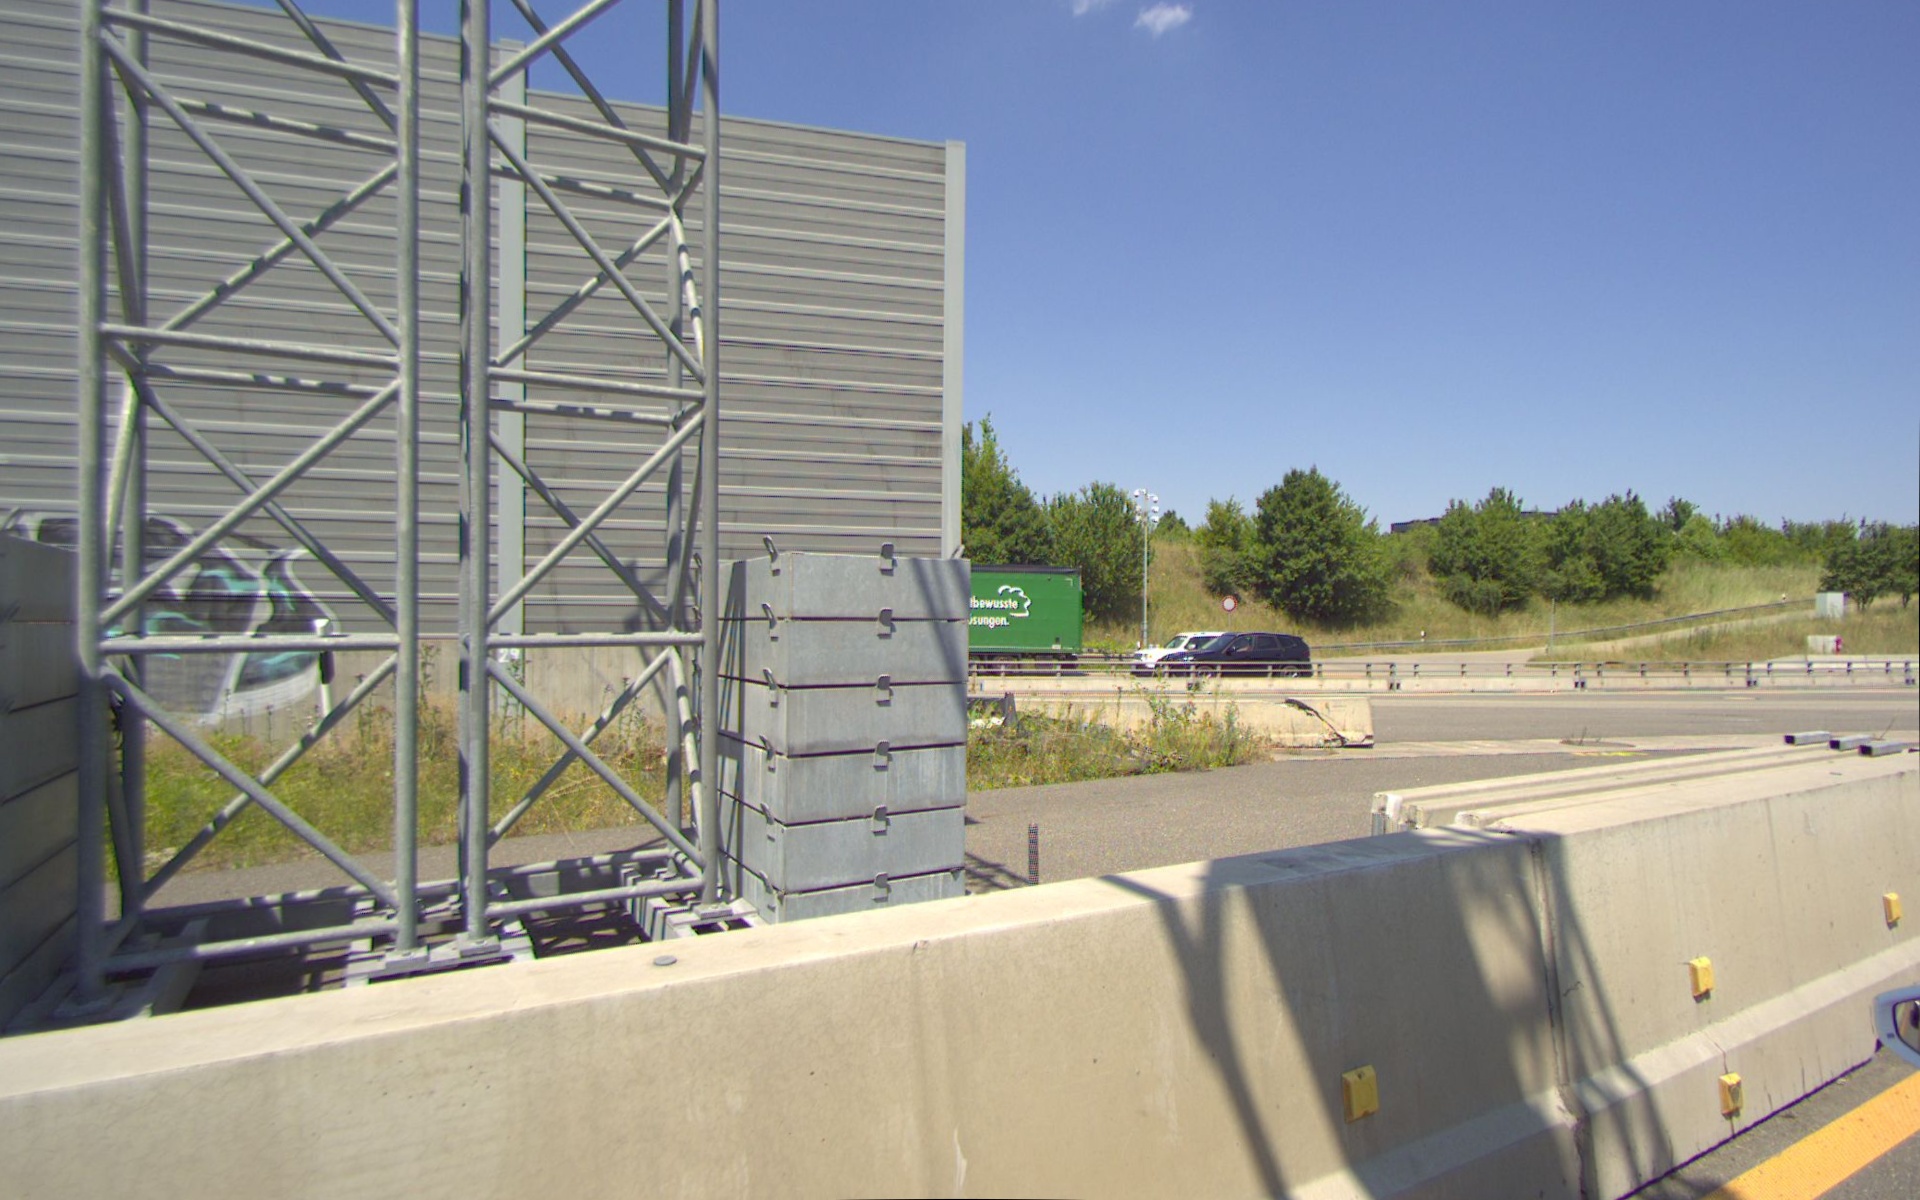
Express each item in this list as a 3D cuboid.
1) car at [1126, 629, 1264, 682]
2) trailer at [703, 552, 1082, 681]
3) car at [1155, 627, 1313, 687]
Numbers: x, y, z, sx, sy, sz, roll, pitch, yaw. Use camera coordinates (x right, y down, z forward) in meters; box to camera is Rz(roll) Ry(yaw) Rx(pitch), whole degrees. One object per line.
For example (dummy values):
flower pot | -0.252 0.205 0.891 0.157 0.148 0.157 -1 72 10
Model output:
car | 7.698 1.818 33.025 4.097 1.645 1.718 1 0 -12
trailer | -2.488 0.651 38.156 13.653 4.327 3.552 2 0 -8
car | 7.947 1.641 29.263 4.097 1.645 1.718 1 0 -12
